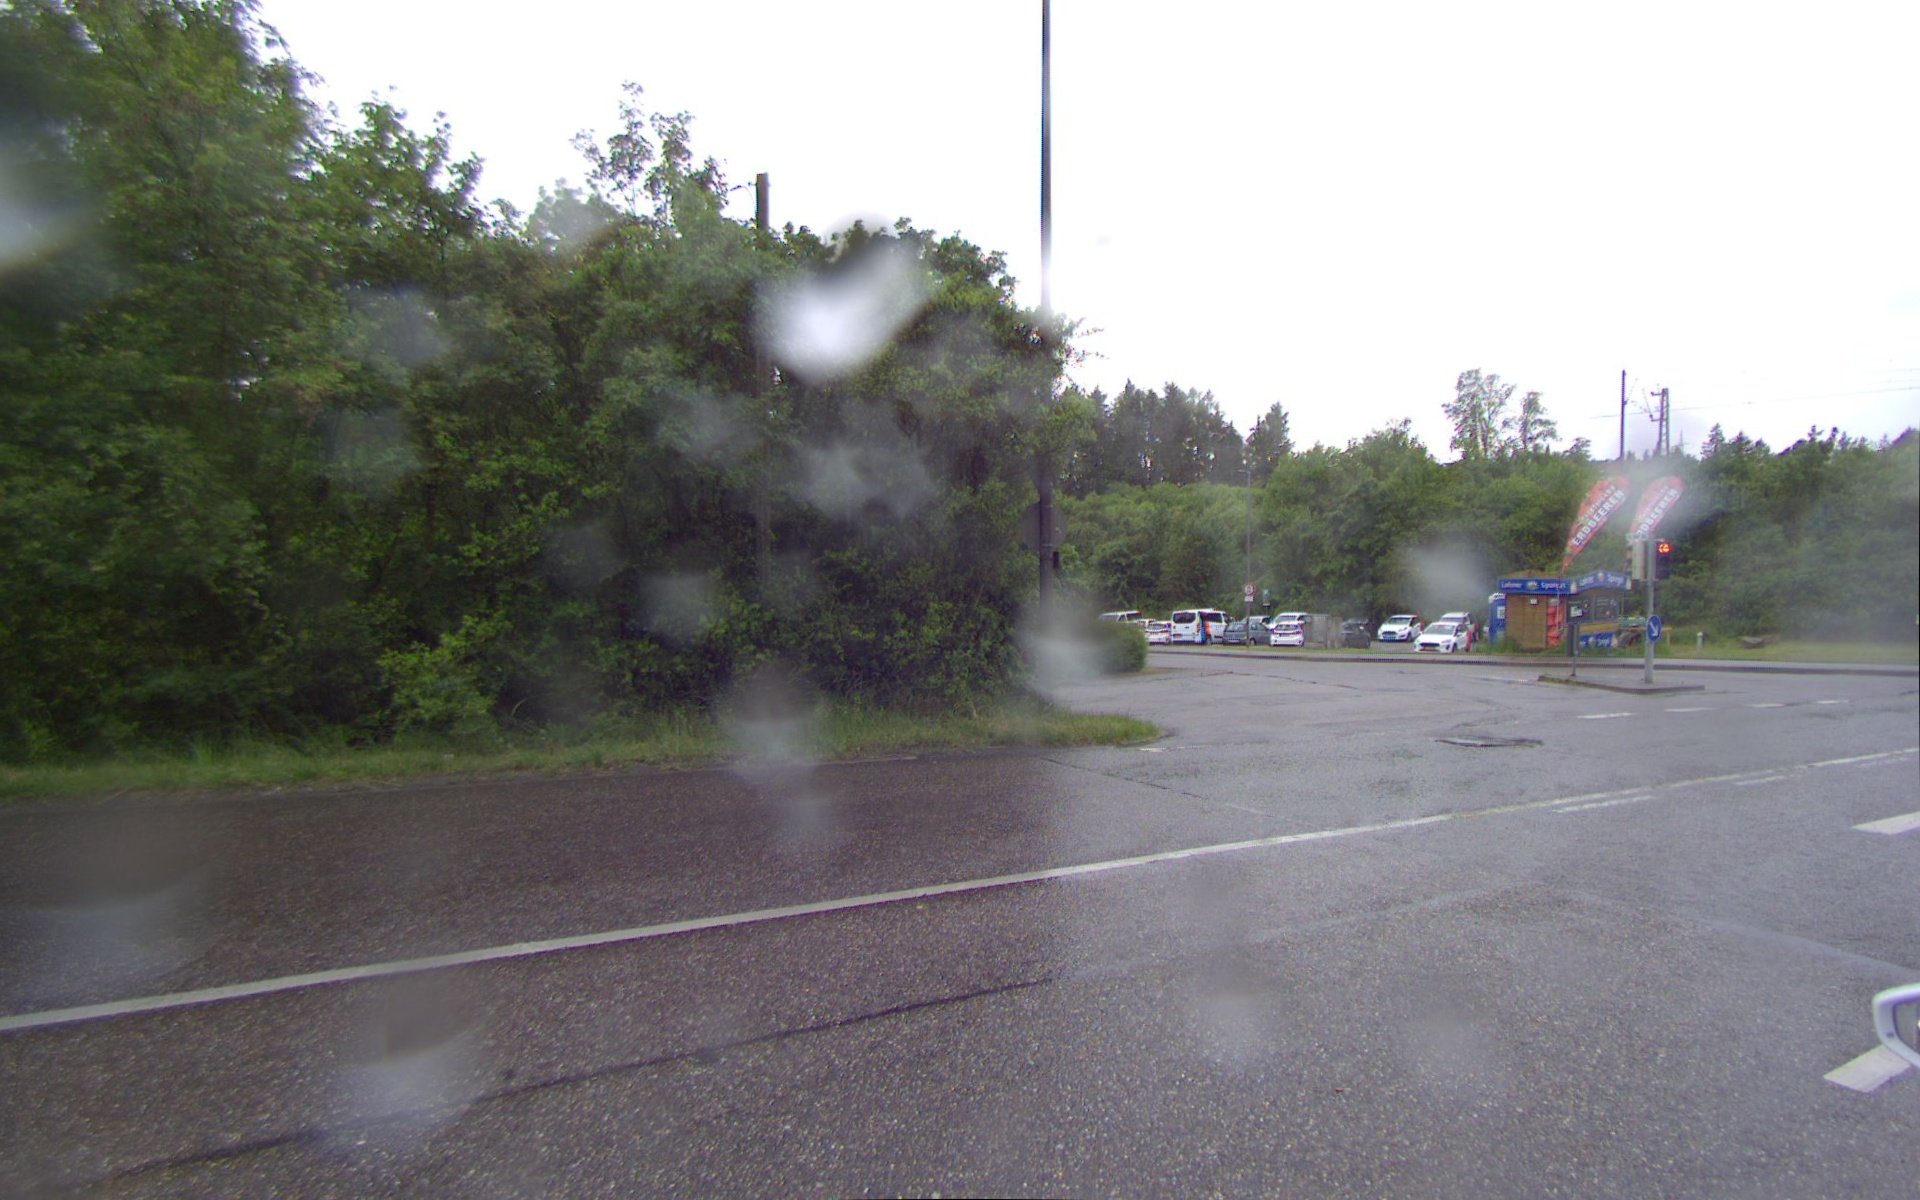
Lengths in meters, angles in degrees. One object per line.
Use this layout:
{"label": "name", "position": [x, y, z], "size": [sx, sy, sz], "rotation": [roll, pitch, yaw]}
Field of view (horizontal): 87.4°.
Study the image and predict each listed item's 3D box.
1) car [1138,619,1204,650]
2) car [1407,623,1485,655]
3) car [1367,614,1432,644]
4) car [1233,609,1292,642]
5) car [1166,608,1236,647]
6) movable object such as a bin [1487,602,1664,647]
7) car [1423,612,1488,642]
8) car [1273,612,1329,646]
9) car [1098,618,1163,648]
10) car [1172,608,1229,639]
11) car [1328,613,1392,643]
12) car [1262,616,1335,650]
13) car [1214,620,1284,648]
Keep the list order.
{"label": "car", "position": [11.810, 1.955, 56.199], "size": [1.834, 1.606, 3.978], "rotation": [1, -1, 42]}
{"label": "car", "position": [22.599, 1.839, 46.647], "size": [4.868, 1.358, 1.636], "rotation": [3, -1, -43]}
{"label": "car", "position": [25.051, 1.670, 57.249], "size": [3.972, 1.606, 1.975], "rotation": [3, -1, -43]}
{"label": "car", "position": [19.469, 1.663, 64.656], "size": [3.973, 2.040, 1.974], "rotation": [2, -2, -44]}
{"label": "car", "position": [13.034, 1.518, 54.261], "size": [1.971, 1.974, 3.978], "rotation": [1, -1, 42]}
{"label": "movable object such as a bin", "position": [25.703, 1.020, 42.212], "size": [5.663, 1.649, 2.753], "rotation": [2, -1, 10]}
{"label": "car", "position": [27.271, 1.476, 55.237], "size": [3.972, 1.606, 1.975], "rotation": [2, -2, -43]}
{"label": "car", "position": [21.338, 1.794, 62.774], "size": [1.916, 2.040, 3.846], "rotation": [1, 0, 43]}
{"label": "car", "position": [9.896, 1.930, 58.096], "size": [1.813, 1.606, 3.978], "rotation": [1, -1, 42]}
{"label": "car", "position": [16.242, 1.593, 67.812], "size": [3.973, 2.040, 1.974], "rotation": [2, -1, -44]}
{"label": "car", "position": [23.616, 1.645, 59.228], "size": [3.972, 1.606, 1.975], "rotation": [3, -1, -43]}
{"label": "car", "position": [17.322, 1.708, 51.293], "size": [3.880, 1.606, 1.918], "rotation": [3, -1, -43]}
{"label": "car", "position": [15.295, 1.796, 53.012], "size": [3.972, 1.327, 1.734], "rotation": [3, -1, -43]}
